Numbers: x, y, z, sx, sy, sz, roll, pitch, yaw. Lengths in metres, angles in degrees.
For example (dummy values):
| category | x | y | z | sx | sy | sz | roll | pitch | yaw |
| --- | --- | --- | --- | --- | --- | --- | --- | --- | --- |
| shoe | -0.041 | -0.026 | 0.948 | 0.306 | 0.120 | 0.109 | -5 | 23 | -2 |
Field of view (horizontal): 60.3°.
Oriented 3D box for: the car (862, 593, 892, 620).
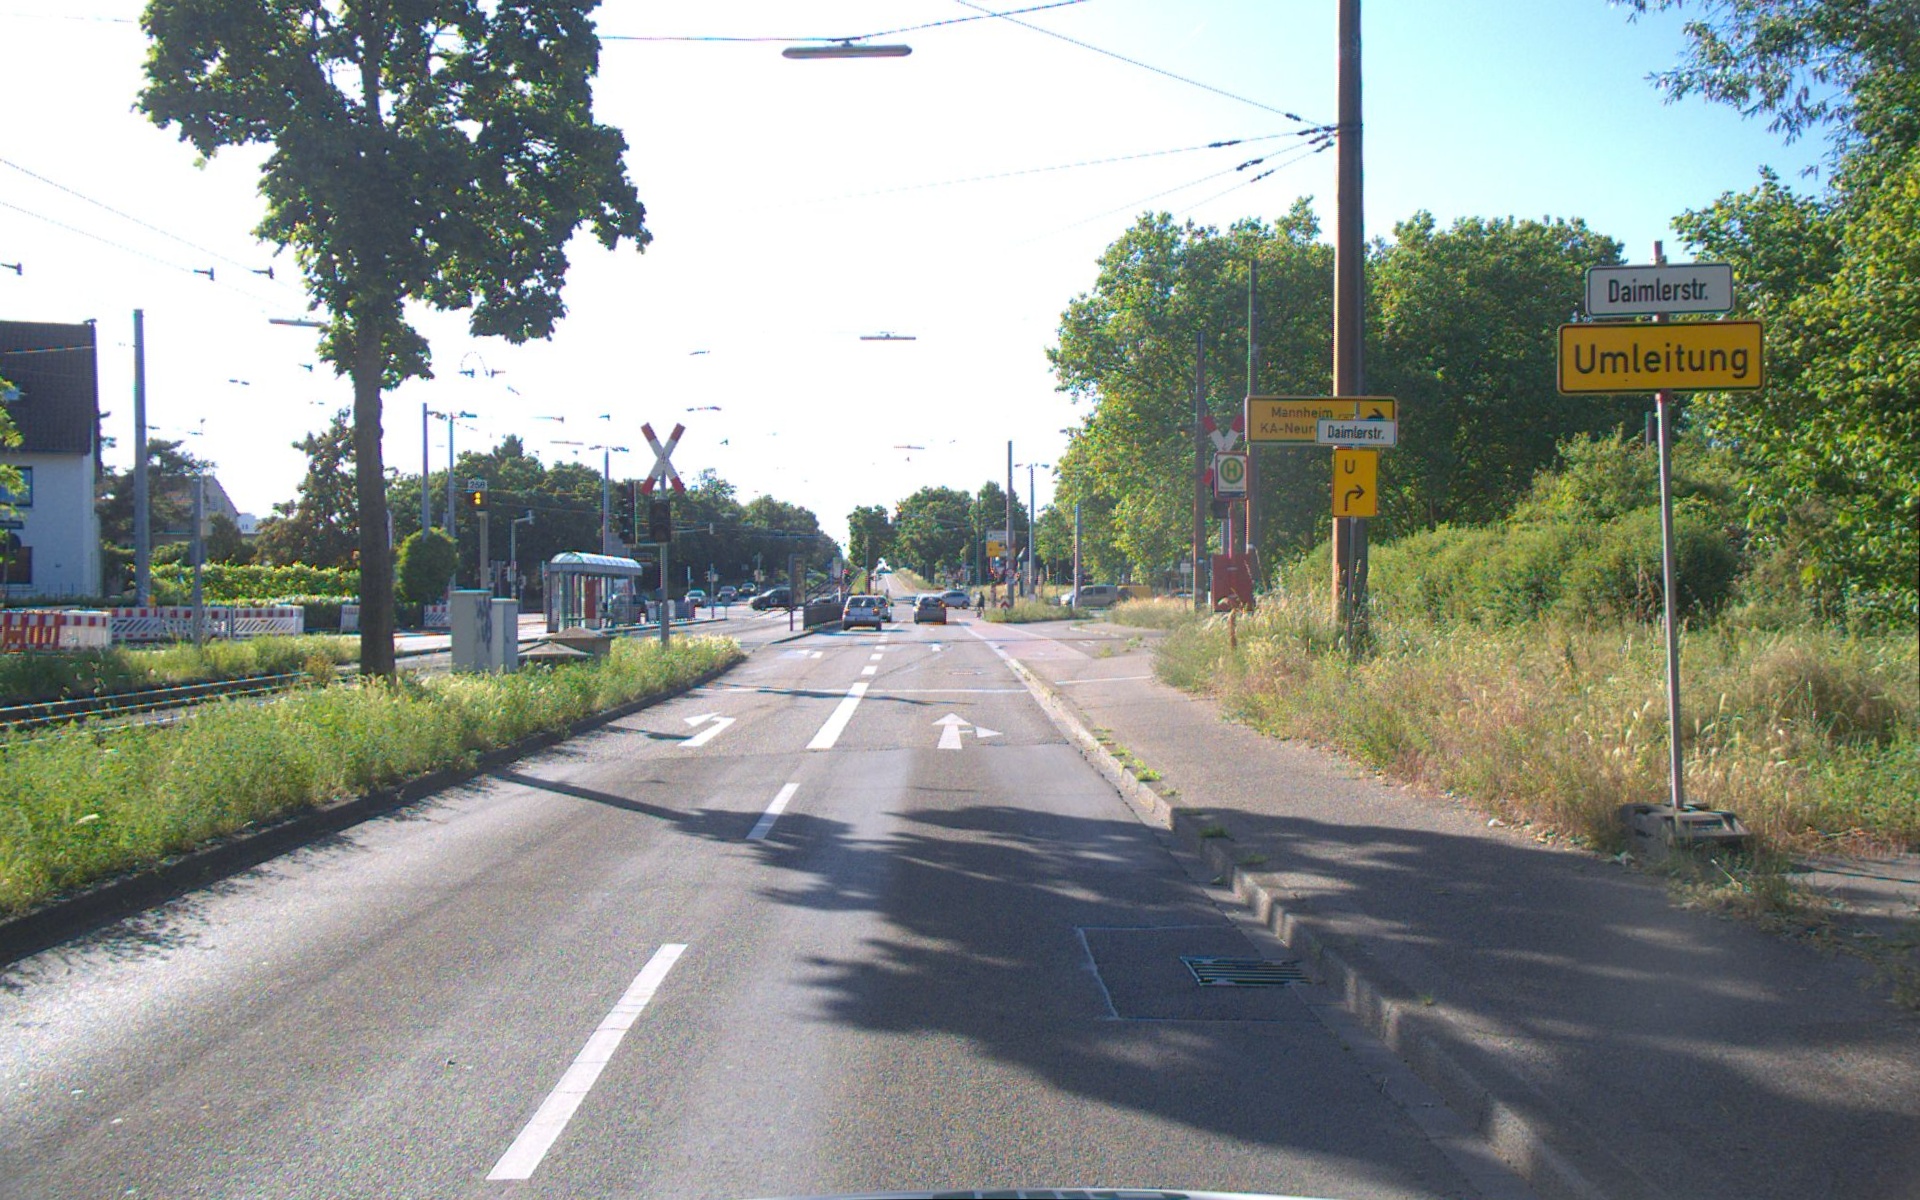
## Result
| category | x | y | z | sx | sy | sz | roll | pitch | yaw |
| --- | --- | --- | --- | --- | --- | --- | --- | --- | --- |
| car | -4.768 | 0.392 | 94.838 | 1.586 | 1.482 | 4.084 | 1 | 0 | -1 |

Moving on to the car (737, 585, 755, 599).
| category | x | y | z | sx | sy | sz | roll | pitch | yaw |
| --- | --- | --- | --- | --- | --- | --- | --- | --- | --- |
| car | -24.887 | -0.938 | 192.230 | 1.956 | 1.632 | 4.746 | 1 | 1 | -8 |

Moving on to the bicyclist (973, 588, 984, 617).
| category | x | y | z | sx | sy | sz | roll | pitch | yaw |
| --- | --- | --- | --- | --- | --- | --- | --- | --- | --- |
| bicyclist | 1.172 | 0.153 | 103.482 | 0.652 | 1.746 | 0.948 | 1 | -1 | -2 |

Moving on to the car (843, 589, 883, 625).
| category | x | y | z | sx | sy | sz | roll | pitch | yaw |
| --- | --- | --- | --- | --- | --- | --- | --- | --- | --- |
| car | -4.096 | 0.303 | 70.197 | 1.586 | 1.442 | 3.350 | -1 | 0 | -1 |

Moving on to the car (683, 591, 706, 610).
| category | x | y | z | sx | sy | sz | roll | pitch | yaw |
| --- | --- | --- | --- | --- | --- | --- | --- | --- | --- |
| car | -22.798 | 0.023 | 142.100 | 1.797 | 1.575 | 3.993 | -1 | 0 | -7 |

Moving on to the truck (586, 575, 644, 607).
| category | x | y | z | sx | sy | sz | roll | pitch | yaw |
| --- | --- | --- | --- | --- | --- | --- | --- | --- | --- |
| truck | -29.346 | -0.759 | 140.889 | 1.951 | 2.610 | 6.828 | 0 | 0 | 15 |

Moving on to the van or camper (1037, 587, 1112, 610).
| category | x | y | z | sx | sy | sz | roll | pitch | yaw |
| --- | --- | --- | --- | --- | --- | --- | --- | --- | --- |
| van or camper | 9.216 | -0.101 | 133.692 | 5.851 | 1.860 | 1.998 | 0 | 0 | -5 |

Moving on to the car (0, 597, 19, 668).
| category | x | y | z | sx | sy | sz | roll | pitch | yaw |
| --- | --- | --- | --- | --- | --- | --- | --- | --- | --- |
| car | -21.649 | 0.672 | 34.261 | 1.953 | 1.527 | 4.068 | 1 | 0 | 0 |

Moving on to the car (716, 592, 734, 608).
| category | x | y | z | sx | sy | sz | roll | pitch | yaw |
| --- | --- | --- | --- | --- | --- | --- | --- | --- | --- |
| car | -24.029 | -0.024 | 169.383 | 1.797 | 1.575 | 4.277 | -1 | 0 | -7 |

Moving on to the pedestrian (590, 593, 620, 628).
| category | x | y | z | sx | sy | sz | roll | pitch | yaw |
| --- | --- | --- | --- | --- | --- | --- | --- | --- | --- |
| pedestrian | -15.130 | 0.448 | 70.490 | 1.039 | 1.478 | 1.007 | -1 | 0 | -2 |

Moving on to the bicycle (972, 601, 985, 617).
| category | x | y | z | sx | sy | sz | roll | pitch | yaw |
| --- | --- | --- | --- | --- | --- | --- | --- | --- | --- |
| bicycle | 1.162 | 0.567 | 103.560 | 0.707 | 1.006 | 2.875 | 1 | 0 | -1 |

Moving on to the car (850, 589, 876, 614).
| category | x | y | z | sx | sy | sz | roll | pitch | yaw |
| --- | --- | --- | --- | --- | --- | --- | --- | --- | --- |
| car | -8.173 | 0.120 | 140.127 | 1.953 | 2.049 | 4.490 | 1 | 0 | -1 |

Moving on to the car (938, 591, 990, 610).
| category | x | y | z | sx | sy | sz | roll | pitch | yaw |
| --- | --- | --- | --- | --- | --- | --- | --- | --- | --- |
| car | 0.315 | 0.029 | 137.040 | 3.932 | 1.499 | 1.739 | 1 | -1 | -23 |

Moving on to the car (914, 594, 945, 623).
| category | x | y | z | sx | sy | sz | roll | pitch | yaw |
| --- | --- | --- | --- | --- | --- | --- | --- | --- | --- |
| car | -1.657 | 0.443 | 89.515 | 1.634 | 1.487 | 3.585 | 0 | 0 | -1 |
